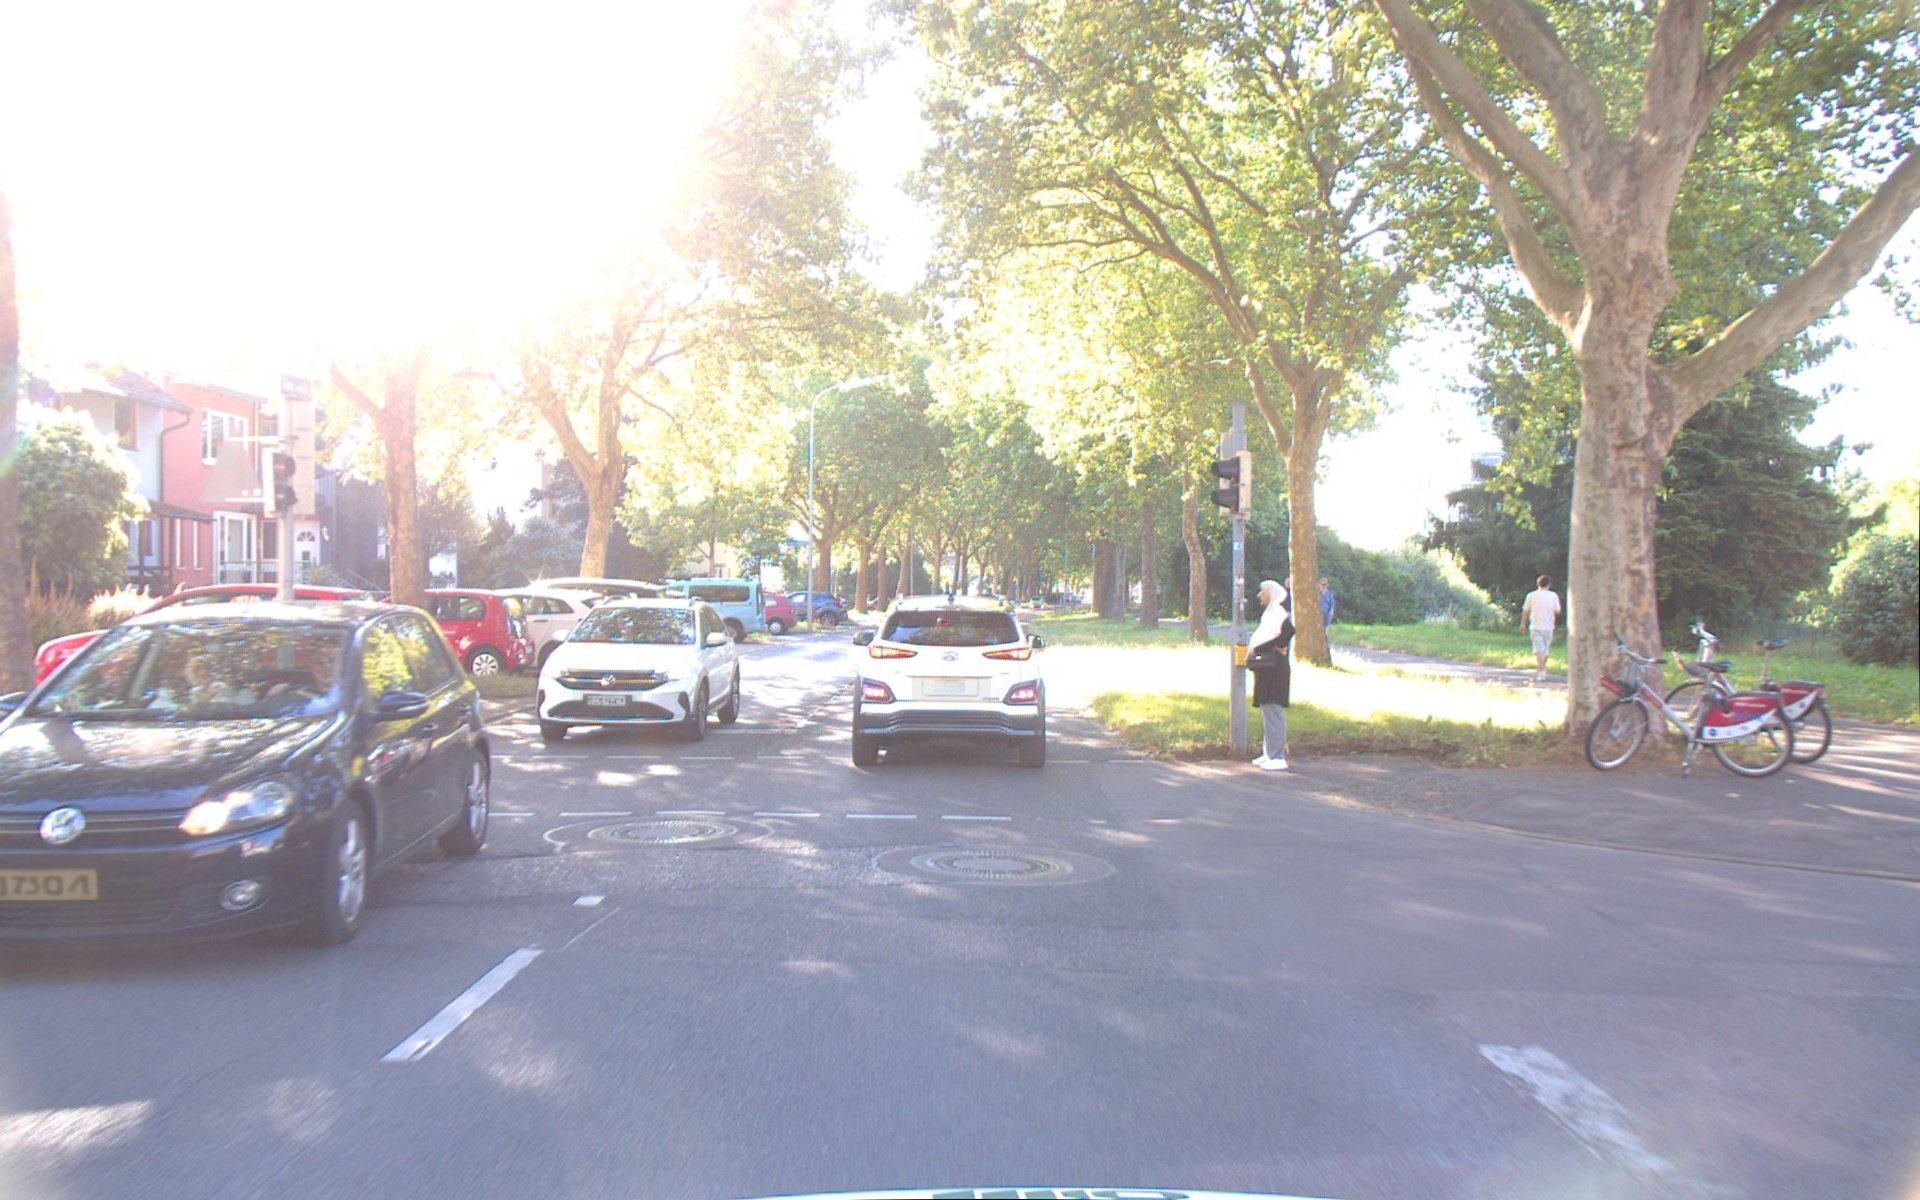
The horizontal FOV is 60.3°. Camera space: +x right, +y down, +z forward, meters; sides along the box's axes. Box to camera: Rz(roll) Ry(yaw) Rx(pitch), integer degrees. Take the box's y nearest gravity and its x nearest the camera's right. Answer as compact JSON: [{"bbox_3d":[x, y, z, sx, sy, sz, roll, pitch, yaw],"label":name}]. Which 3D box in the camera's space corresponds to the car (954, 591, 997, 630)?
[{"bbox_3d":[0.688,0.435,69.867,1.726,1.549,3.921,1,0,1],"label":"car"}]

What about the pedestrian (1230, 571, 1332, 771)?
[{"bbox_3d":[2.914,0.625,15.061,0.623,1.749,0.824,-2,0,-8],"label":"pedestrian"}]

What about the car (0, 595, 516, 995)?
[{"bbox_3d":[-3.485,0.730,8.230,1.692,1.489,4.065,0,0,-4],"label":"car"}]

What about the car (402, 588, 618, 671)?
[{"bbox_3d":[-8.640,0.547,31.981,3.682,1.509,1.754,1,0,0],"label":"car"}]

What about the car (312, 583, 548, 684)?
[{"bbox_3d":[-8.533,0.527,26.837,3.272,1.505,1.695,1,0,-2],"label":"car"}]

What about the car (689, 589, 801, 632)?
[{"bbox_3d":[-7.658,0.365,59.055,3.793,1.545,1.664,0,0,-2],"label":"car"}]

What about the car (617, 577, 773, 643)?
[{"bbox_3d":[-7.823,0.282,49.082,4.297,1.856,1.995,1,0,-2],"label":"car"}]

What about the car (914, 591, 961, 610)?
[{"bbox_3d":[-2.034,0.021,148.645,4.096,1.612,2.000,1,0,1],"label":"car"}]

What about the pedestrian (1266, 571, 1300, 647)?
[{"bbox_3d":[8.032,0.213,41.174,0.745,1.878,0.788,0,0,3],"label":"pedestrian"}]

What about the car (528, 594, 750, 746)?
[{"bbox_3d":[-3.517,0.705,18.821,1.681,1.527,4.094,1,0,0],"label":"car"}]

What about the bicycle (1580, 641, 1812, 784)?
[{"bbox_3d":[6.011,0.895,13.550,1.685,1.053,0.445,0,3,35],"label":"bicycle"}]

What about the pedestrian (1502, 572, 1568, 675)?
[{"bbox_3d":[9.570,0.386,27.541,0.763,1.678,0.938,0,0,-1],"label":"pedestrian"}]

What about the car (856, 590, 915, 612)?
[{"bbox_3d":[-4.989,0.094,111.491,3.746,1.339,1.791,2,0,3],"label":"car"}]

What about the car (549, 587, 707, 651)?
[{"bbox_3d":[-8.196,0.454,41.048,3.567,1.543,1.782,0,0,0],"label":"car"}]

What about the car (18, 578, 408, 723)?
[{"bbox_3d":[-8.588,0.564,19.289,3.689,1.561,1.831,1,0,-3],"label":"car"}]

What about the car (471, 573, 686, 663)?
[{"bbox_3d":[-7.839,0.362,34.246,4.008,1.746,1.831,1,0,-1],"label":"car"}]

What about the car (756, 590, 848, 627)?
[{"bbox_3d":[-6.944,0.366,72.954,3.907,1.545,1.817,1,0,-2],"label":"car"}]

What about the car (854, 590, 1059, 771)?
[{"bbox_3d":[-0.112,0.716,16.530,1.799,1.583,3.998,0,0,-2],"label":"car"}]

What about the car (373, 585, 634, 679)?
[{"bbox_3d":[-7.973,0.549,29.210,4.078,1.527,1.875,1,0,-2],"label":"car"}]

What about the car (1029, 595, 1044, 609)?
[{"bbox_3d":[8.450,0.259,183.589,1.654,1.490,3.695,1,0,2],"label":"car"}]

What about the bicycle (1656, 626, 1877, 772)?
[{"bbox_3d":[7.026,0.824,14.522,0.438,1.101,1.996,-2,2,-20],"label":"bicycle"}]

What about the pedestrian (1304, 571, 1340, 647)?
[{"bbox_3d":[9.008,0.216,41.168,0.739,1.880,0.803,0,0,3],"label":"pedestrian"}]

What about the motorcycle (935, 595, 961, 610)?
[{"bbox_3d":[-1.082,0.225,150.921,2.336,1.413,0.648,1,-1,0],"label":"motorcycle"}]
